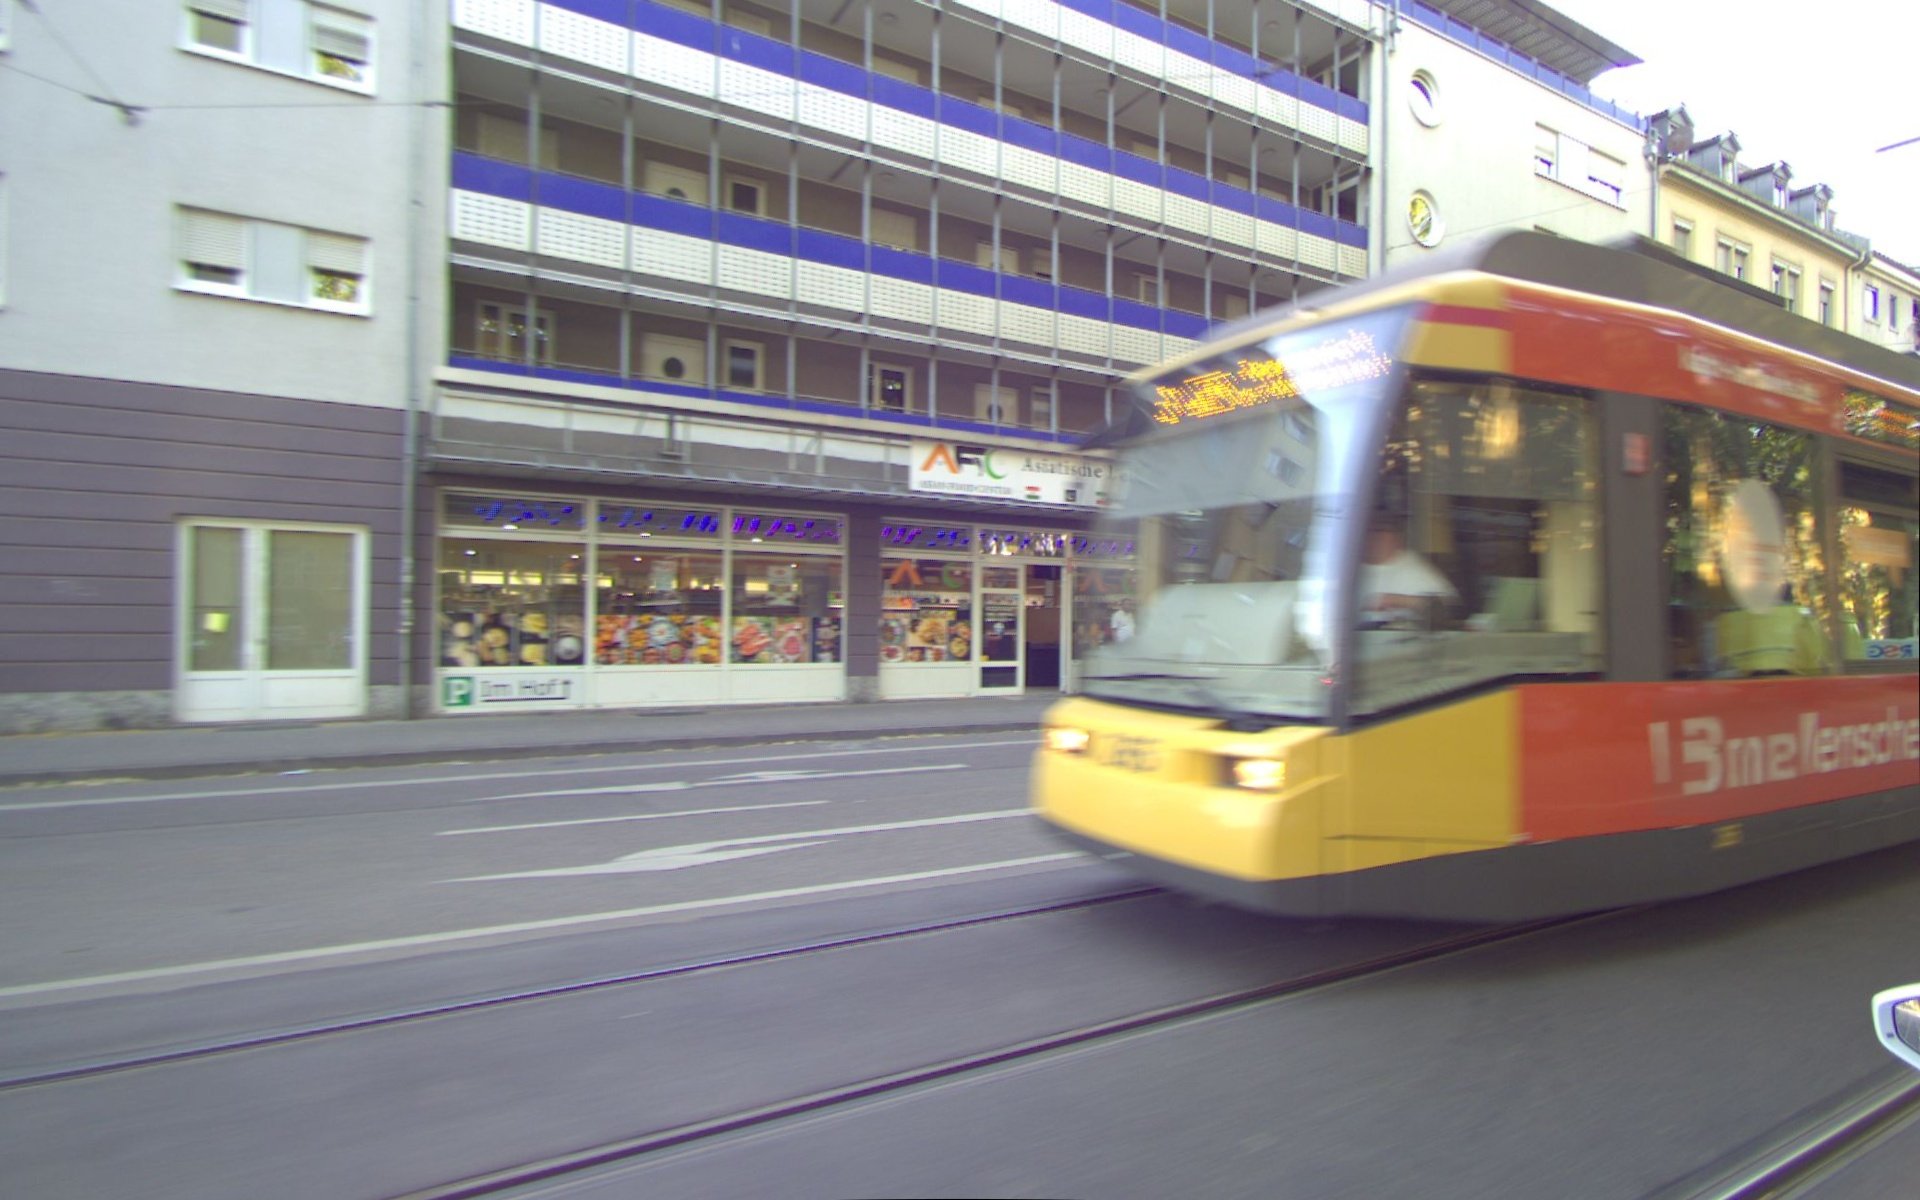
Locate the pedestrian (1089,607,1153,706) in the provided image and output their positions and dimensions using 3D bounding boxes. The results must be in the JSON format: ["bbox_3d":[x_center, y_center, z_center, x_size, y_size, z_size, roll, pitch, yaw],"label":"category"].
[{"bbox_3d":[2.974,1.024,18.589,0.810,1.736,0.783,1,2,-30],"label":"pedestrian"}]

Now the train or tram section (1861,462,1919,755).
[{"bbox_3d":[18.052,0.232,14.897,14.032,3.532,2.895,1,-1,-31],"label":"train or tram section"}]

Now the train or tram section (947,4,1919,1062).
[{"bbox_3d":[6.334,-0.079,7.972,13.213,3.532,2.895,1,-1,-31],"label":"train or tram section"}]
